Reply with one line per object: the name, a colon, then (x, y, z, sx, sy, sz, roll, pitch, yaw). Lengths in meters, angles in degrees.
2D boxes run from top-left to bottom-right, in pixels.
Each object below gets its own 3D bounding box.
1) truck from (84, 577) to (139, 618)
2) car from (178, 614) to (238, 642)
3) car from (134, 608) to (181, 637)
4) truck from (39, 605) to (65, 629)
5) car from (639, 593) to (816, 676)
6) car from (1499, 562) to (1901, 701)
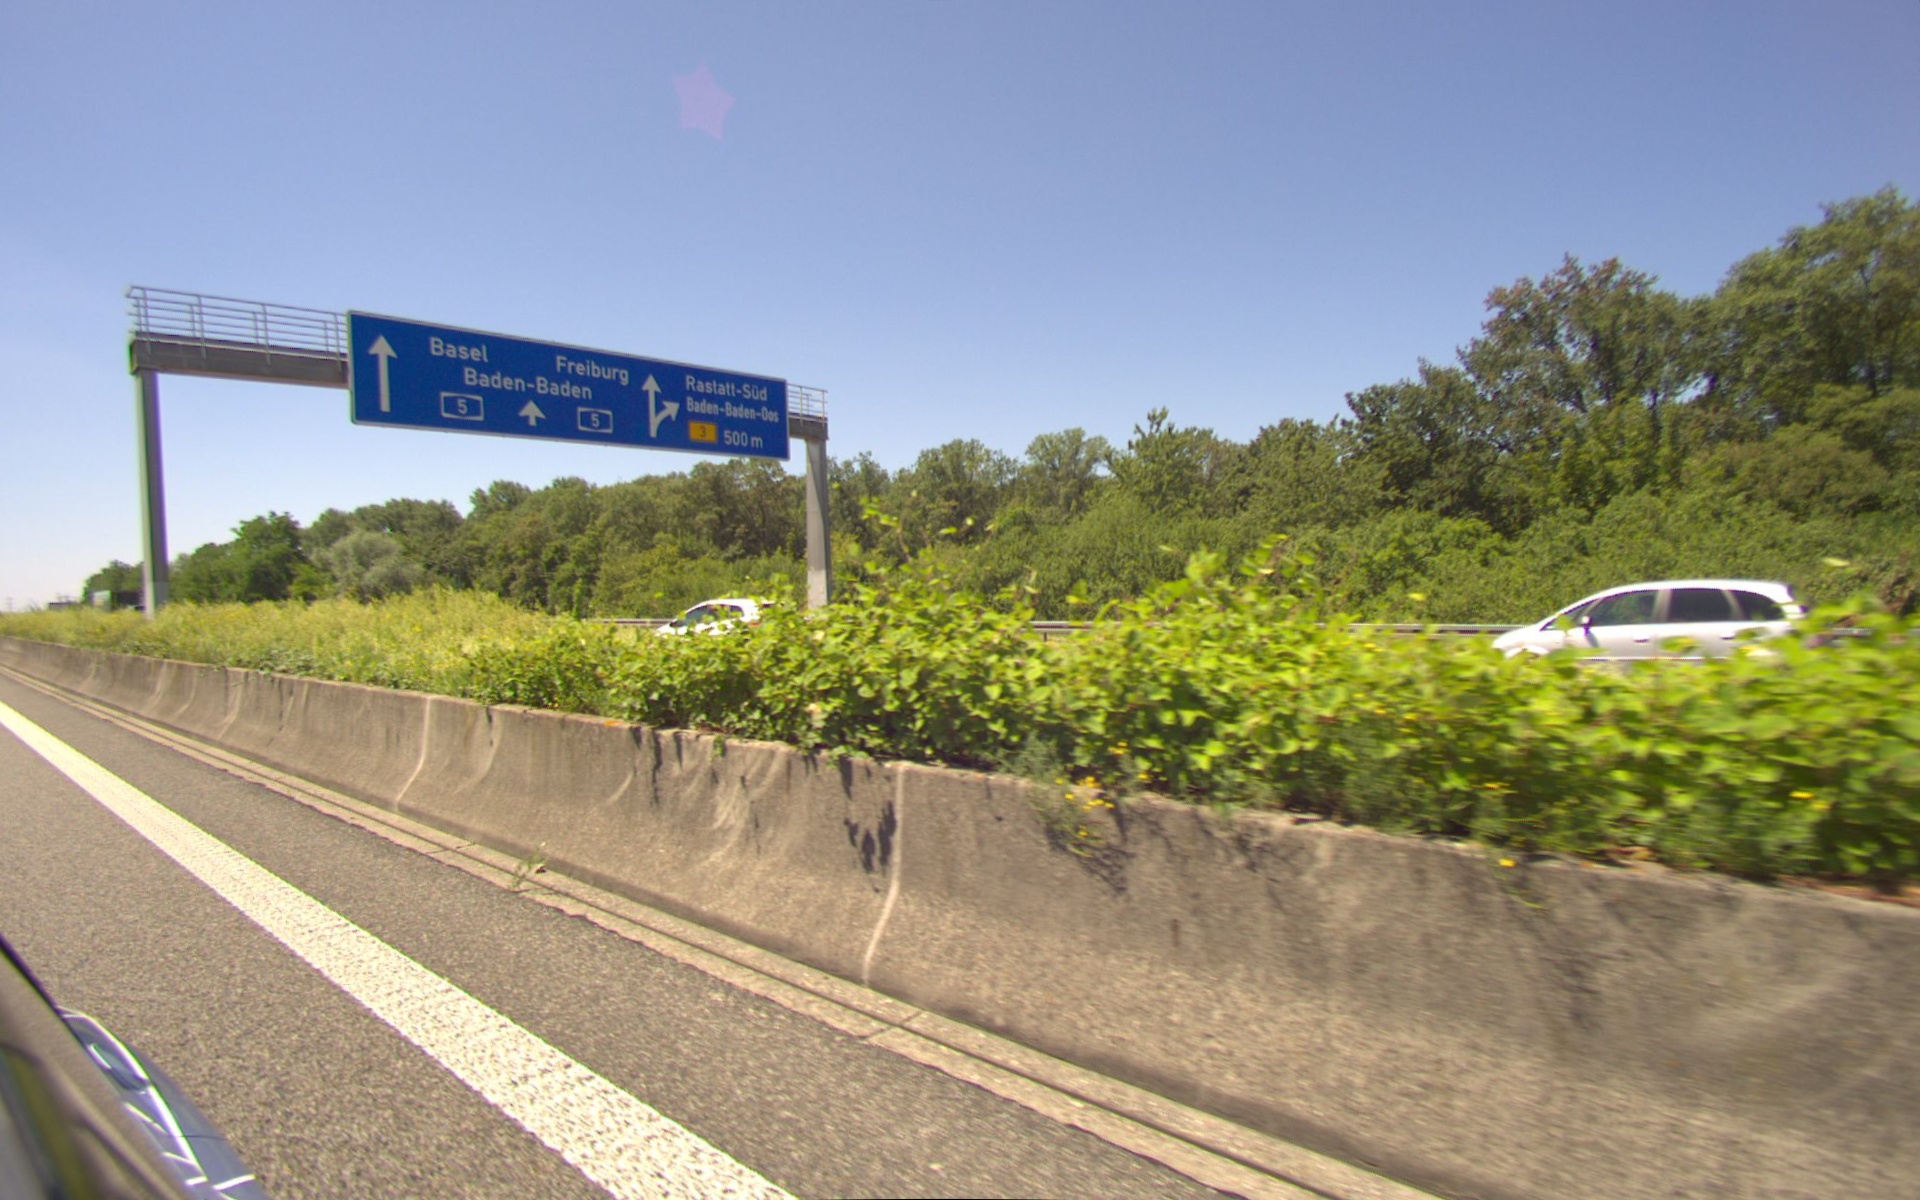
truck: (-94.330, -0.174, 112.391, 14.499, 4.262, 3.142, -1, -1, 44)
car: (-38.783, 1.409, 52.155, 3.997, 1.366, 1.650, -1, 0, 41)
car: (-57.856, 1.634, 72.908, 3.998, 2.029, 1.973, -1, -1, 41)
truck: (-153.664, 2.836, 171.195, 9.035, 3.893, 2.626, -1, -1, 44)
car: (-4.989, 0.693, 21.440, 3.998, 1.586, 1.618, -1, -1, 41)
car: (9.563, 0.382, 13.345, 4.080, 1.566, 1.554, -1, -1, 41)
